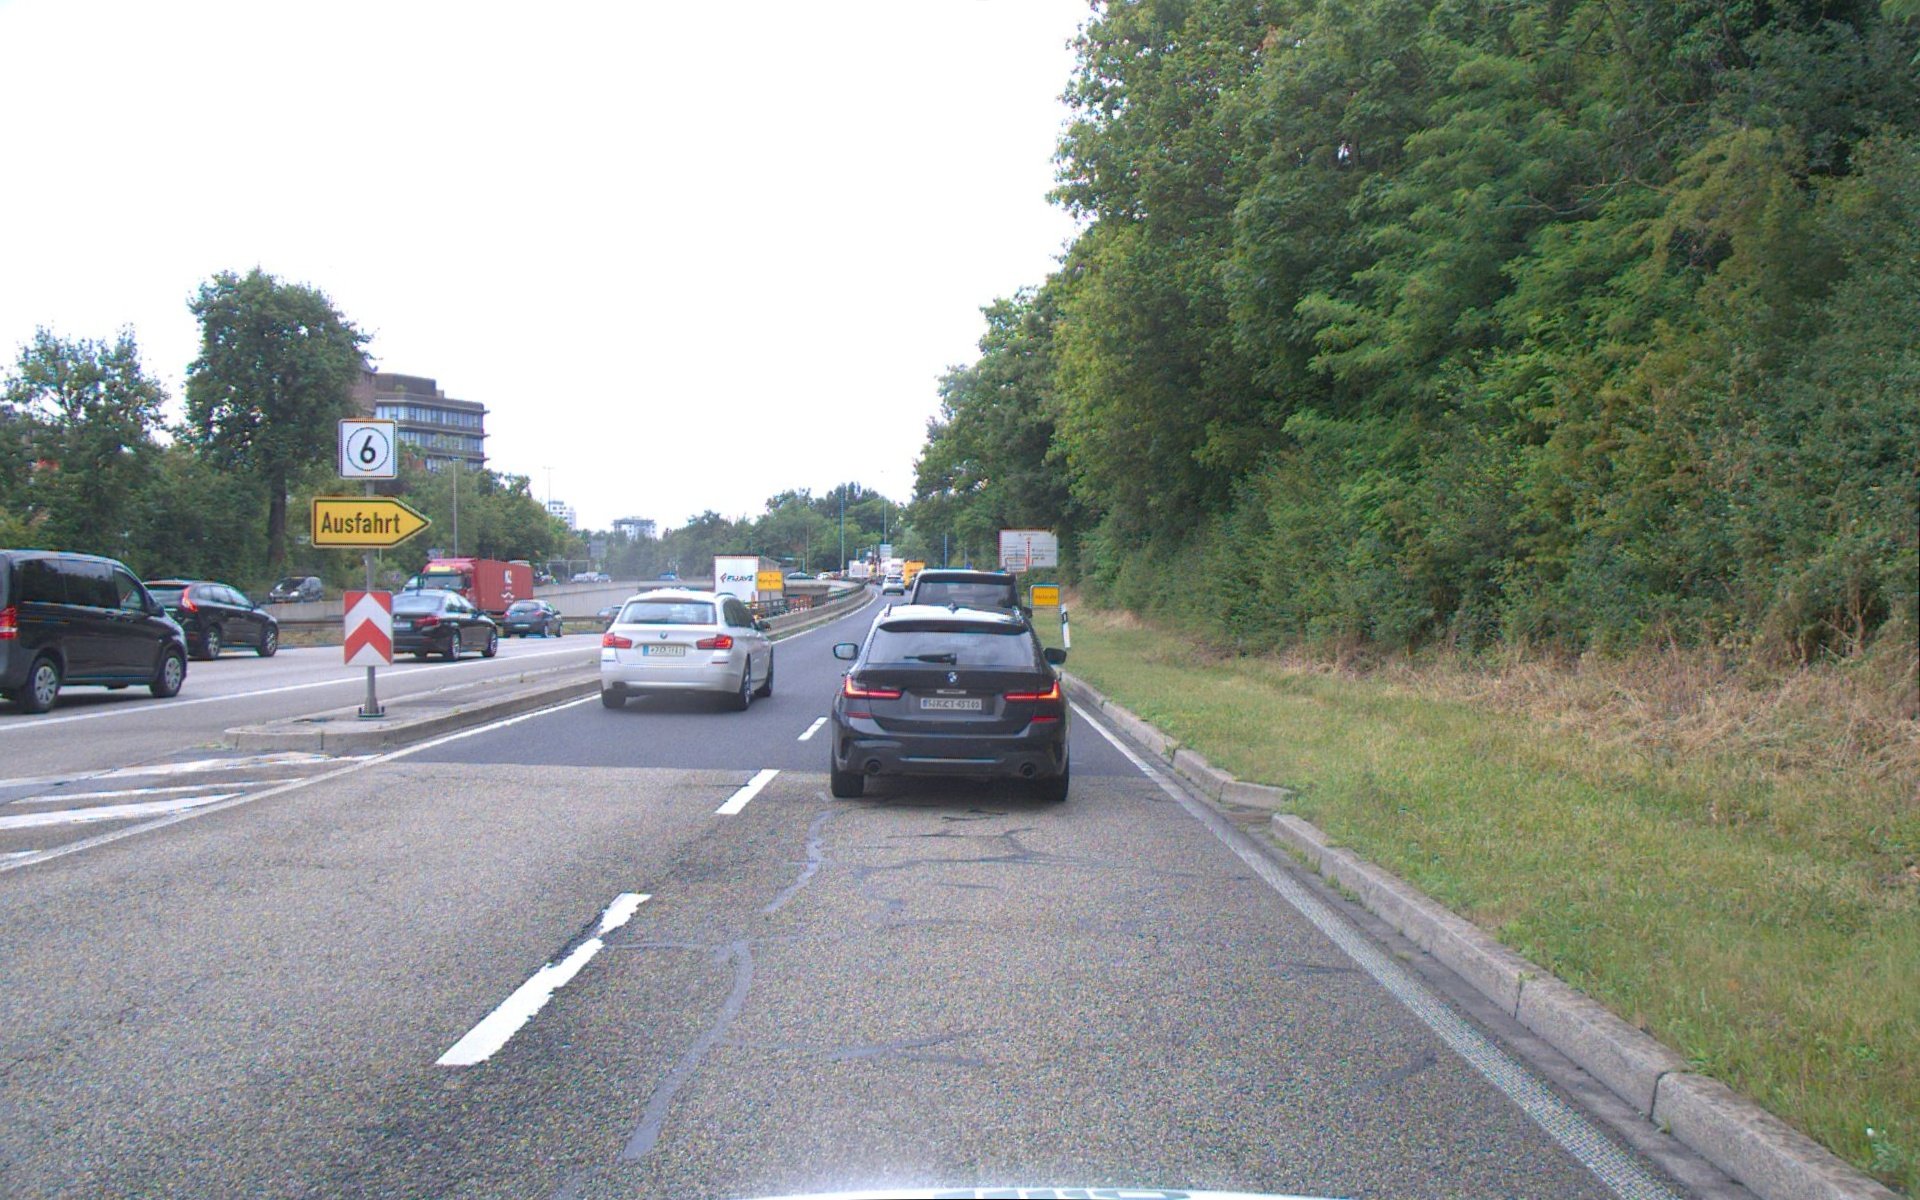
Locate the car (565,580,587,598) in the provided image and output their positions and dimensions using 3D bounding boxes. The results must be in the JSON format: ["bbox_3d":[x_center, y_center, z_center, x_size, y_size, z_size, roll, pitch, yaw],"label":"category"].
[{"bbox_3d":[-41.397,-1.200,178.405,1.622,1.868,3.622,0,0,-1],"label":"car"}]

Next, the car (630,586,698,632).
[{"bbox_3d":[-11.624,0.331,65.221,1.906,1.721,4.506,0,0,0],"label":"car"}]

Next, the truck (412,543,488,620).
[{"bbox_3d":[-28.151,-0.996,91.446,2.706,4.136,4.906,0,0,-1],"label":"truck"}]

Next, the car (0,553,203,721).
[{"bbox_3d":[-11.599,0.393,20.914,1.953,1.883,4.810,1,0,-2],"label":"car"}]

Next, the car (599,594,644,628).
[{"bbox_3d":[-17.450,0.550,85.413,1.653,1.660,3.733,2,0,-2],"label":"car"}]

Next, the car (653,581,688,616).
[{"bbox_3d":[-17.277,-0.083,98.919,1.414,2.080,3.680,0,0,0],"label":"car"}]

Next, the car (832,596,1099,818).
[{"bbox_3d":[-0.031,0.734,13.355,1.809,1.492,3.998,1,0,-2],"label":"car"}]

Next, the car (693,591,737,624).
[{"bbox_3d":[-12.004,0.345,81.304,1.733,1.577,3.491,0,0,-2],"label":"car"}]

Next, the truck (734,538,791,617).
[{"bbox_3d":[-12.417,-1.383,104.265,3.021,4.780,4.231,1,0,-1],"label":"truck"}]

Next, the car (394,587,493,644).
[{"bbox_3d":[-16.171,0.458,52.010,1.852,1.711,4.305,0,0,-2],"label":"car"}]

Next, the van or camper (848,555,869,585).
[{"bbox_3d":[-9.969,-2.936,162.347,1.954,2.870,3.998,0,0,-3],"label":"van or camper"}]

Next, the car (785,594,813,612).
[{"bbox_3d":[-19.282,0.338,197.816,3.143,2.063,5.067,0,0,-8],"label":"car"}]

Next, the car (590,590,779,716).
[{"bbox_3d":[-3.581,0.630,22.337,1.821,1.489,4.883,1,0,-1],"label":"car"}]

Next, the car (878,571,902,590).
[{"bbox_3d":[-6.166,-1.716,145.396,1.891,1.624,3.877,0,0,1],"label":"car"}]

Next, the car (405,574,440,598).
[{"bbox_3d":[-37.414,-0.969,115.096,1.408,1.614,3.243,0,0,-1],"label":"car"}]

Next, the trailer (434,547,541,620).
[{"bbox_3d":[-28.219,-0.953,99.465,2.708,4.135,13.351,0,0,-1],"label":"trailer"}]

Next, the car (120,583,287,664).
[{"bbox_3d":[-16.506,0.477,36.321,1.716,1.664,4.266,1,0,0],"label":"car"}]

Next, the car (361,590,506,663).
[{"bbox_3d":[-11.516,0.538,36.510,1.677,1.482,4.666,1,0,0],"label":"car"}]

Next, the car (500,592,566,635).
[{"bbox_3d":[-16.964,0.511,65.828,1.653,1.636,4.007,2,0,-2],"label":"car"}]

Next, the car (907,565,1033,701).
[{"bbox_3d":[0.131,0.457,25.381,1.759,1.904,4.000,1,0,0],"label":"car"}]

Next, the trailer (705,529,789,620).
[{"bbox_3d":[-12.281,-1.382,96.794,3.069,4.807,14.555,1,0,-1],"label":"trailer"}]

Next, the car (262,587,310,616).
[{"bbox_3d":[-37.575,0.089,92.299,1.408,1.601,3.243,0,0,-1],"label":"car"}]
